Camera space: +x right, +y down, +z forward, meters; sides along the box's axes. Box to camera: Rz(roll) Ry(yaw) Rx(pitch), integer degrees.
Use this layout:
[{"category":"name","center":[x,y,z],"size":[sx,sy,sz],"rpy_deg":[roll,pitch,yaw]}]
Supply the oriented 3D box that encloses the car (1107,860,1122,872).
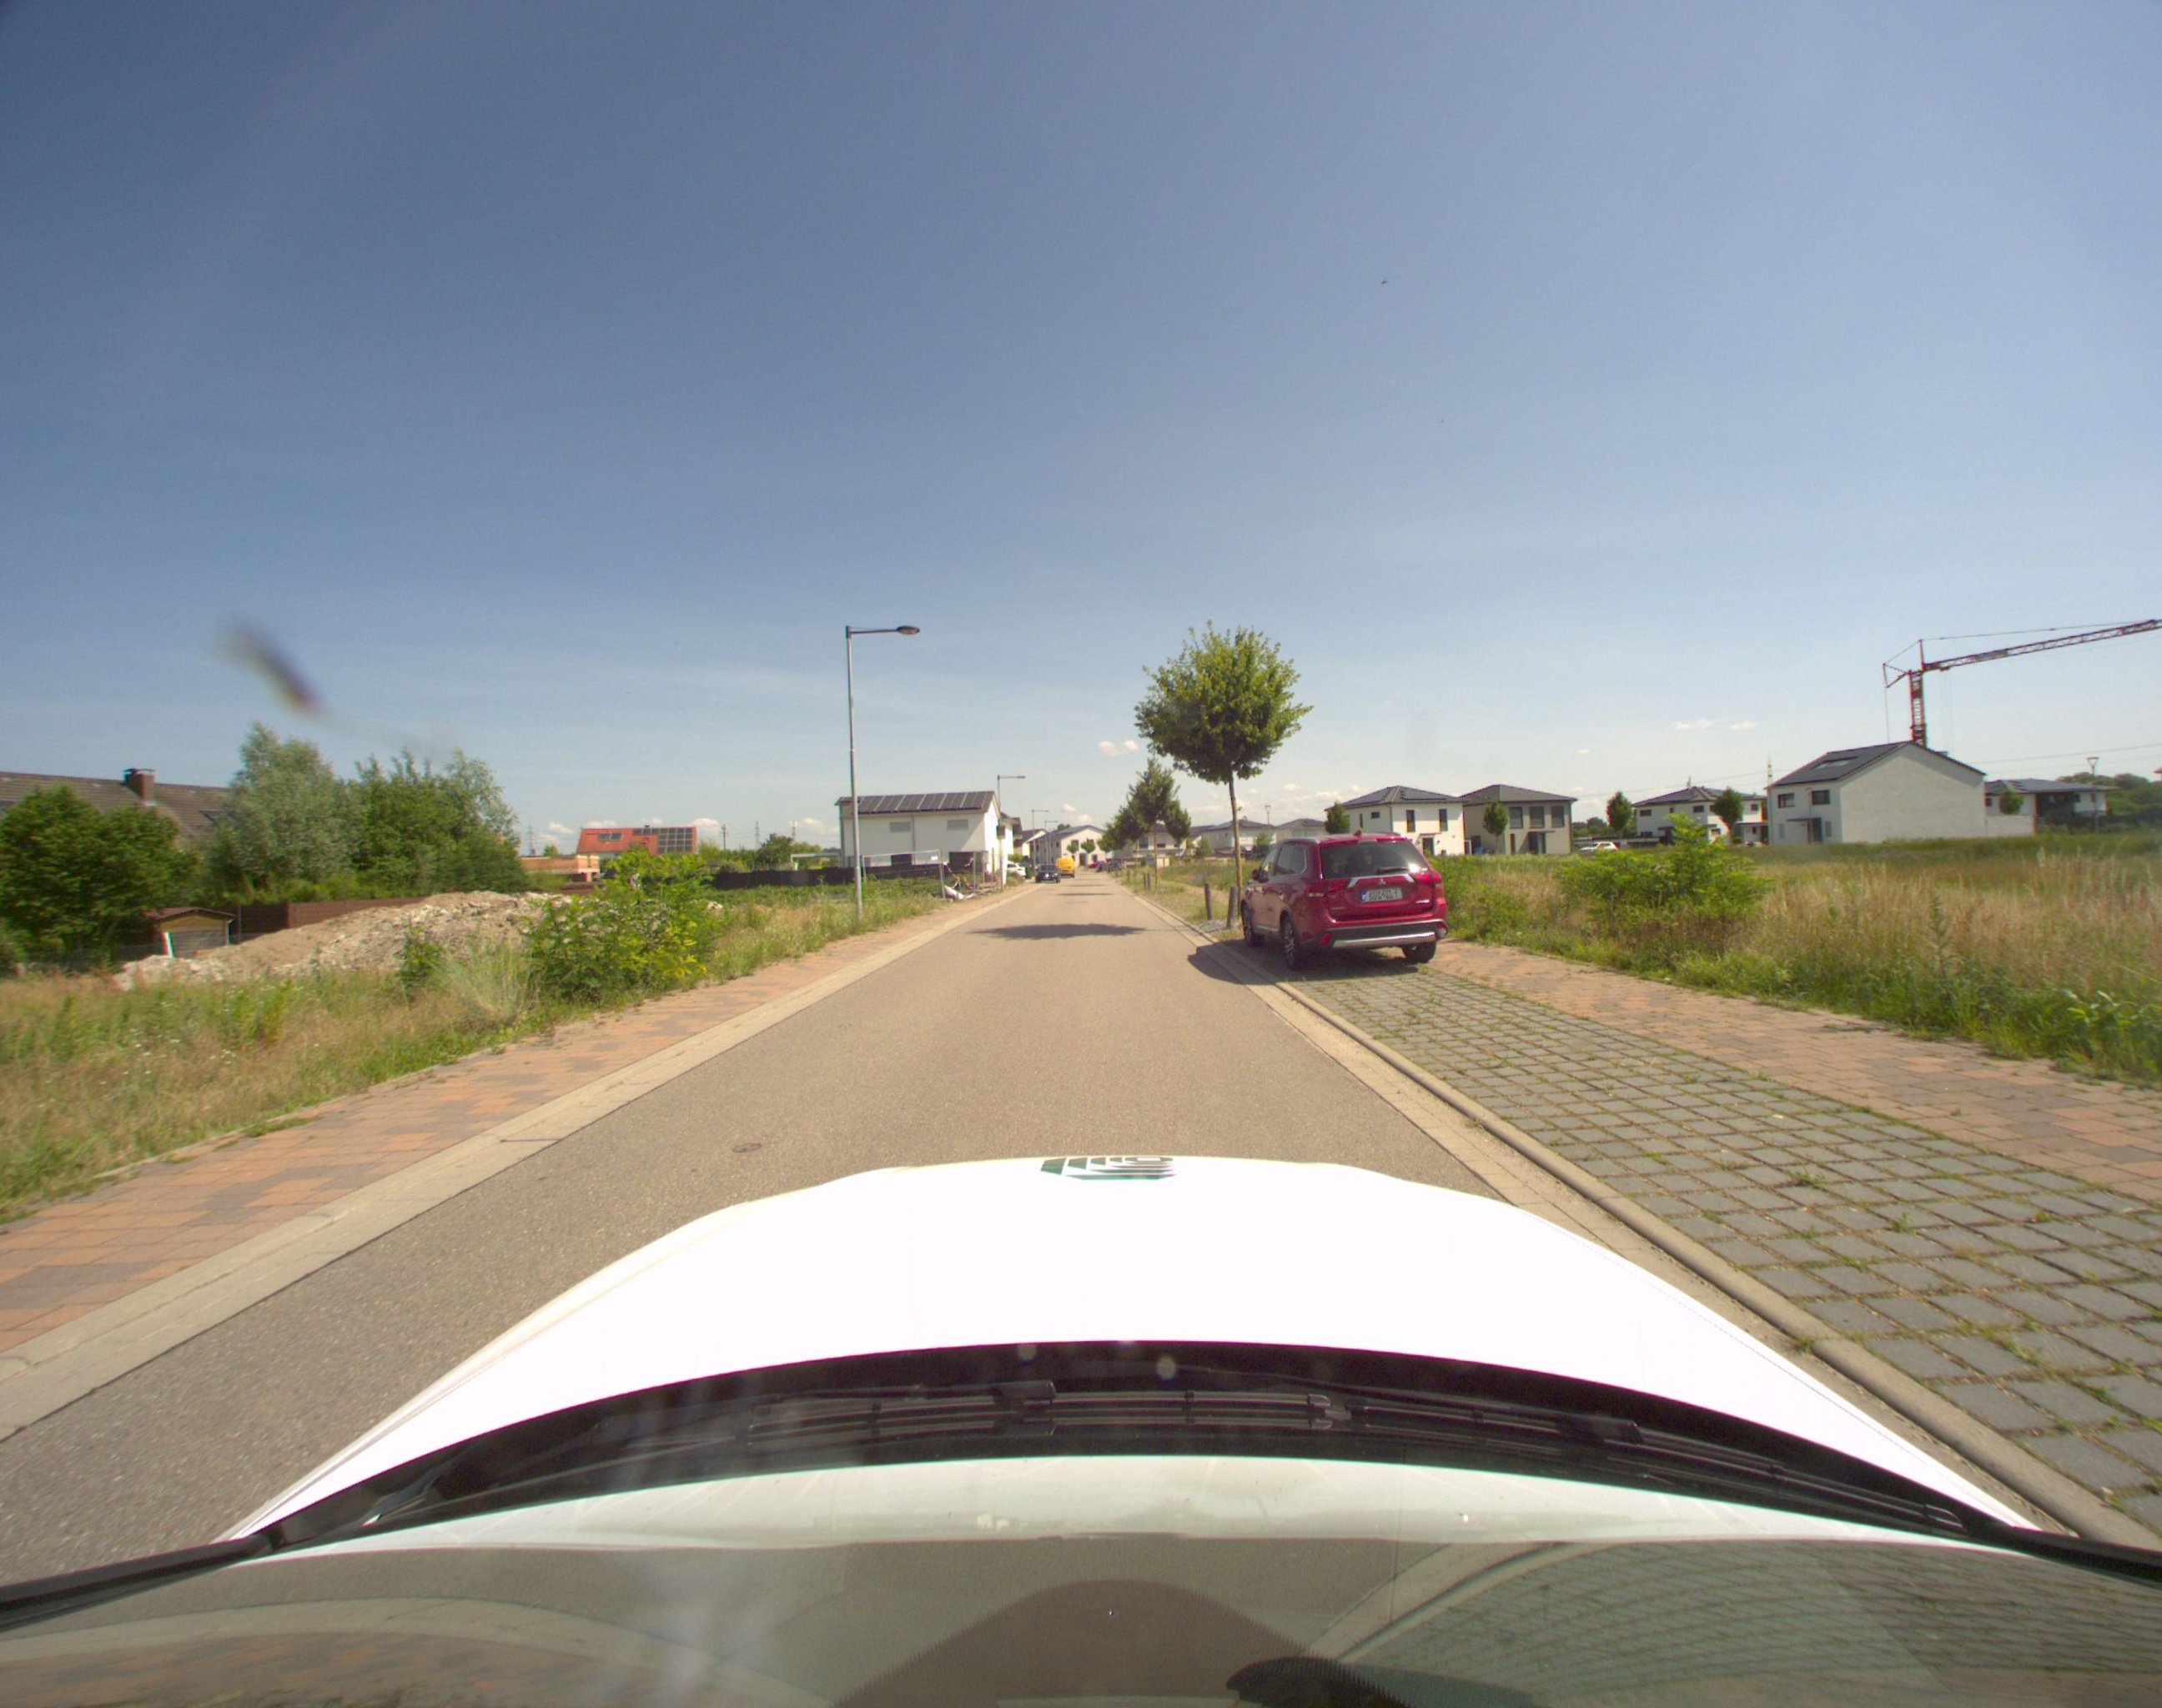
[{"category":"car","center":[4.258,1.582,103.574],"size":[1.634,1.403,3.809],"rpy_deg":[-2,-2,-1]}]

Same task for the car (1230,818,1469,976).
[{"category":"car","center":[3.418,0.481,11.345],"size":[1.771,1.663,4.433],"rpy_deg":[-4,0,0]}]

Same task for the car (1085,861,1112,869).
[{"category":"car","center":[3.357,2.144,156.198],"size":[4.713,1.431,1.981],"rpy_deg":[-1,-1,-28]}]

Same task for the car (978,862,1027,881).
[{"category":"car","center":[-7.102,1.579,73.850],"size":[4.048,1.581,1.787],"rpy_deg":[-1,0,6]}]

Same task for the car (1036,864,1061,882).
[{"category":"car","center":[-2.472,1.452,63.406],"size":[1.739,1.405,4.159],"rpy_deg":[0,-1,0]}]

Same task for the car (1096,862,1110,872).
[{"category":"car","center":[3.270,1.958,122.182],"size":[1.626,1.322,3.824],"rpy_deg":[-2,-3,-6]}]

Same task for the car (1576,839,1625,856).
[{"category":"car","center":[50.567,-0.620,79.312],"size":[3.992,1.398,1.742],"rpy_deg":[-2,-2,-14]}]

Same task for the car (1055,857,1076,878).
[{"category":"car","center":[-1.609,1.396,83.500],"size":[1.937,1.981,4.211],"rpy_deg":[-2,-2,-3]}]
